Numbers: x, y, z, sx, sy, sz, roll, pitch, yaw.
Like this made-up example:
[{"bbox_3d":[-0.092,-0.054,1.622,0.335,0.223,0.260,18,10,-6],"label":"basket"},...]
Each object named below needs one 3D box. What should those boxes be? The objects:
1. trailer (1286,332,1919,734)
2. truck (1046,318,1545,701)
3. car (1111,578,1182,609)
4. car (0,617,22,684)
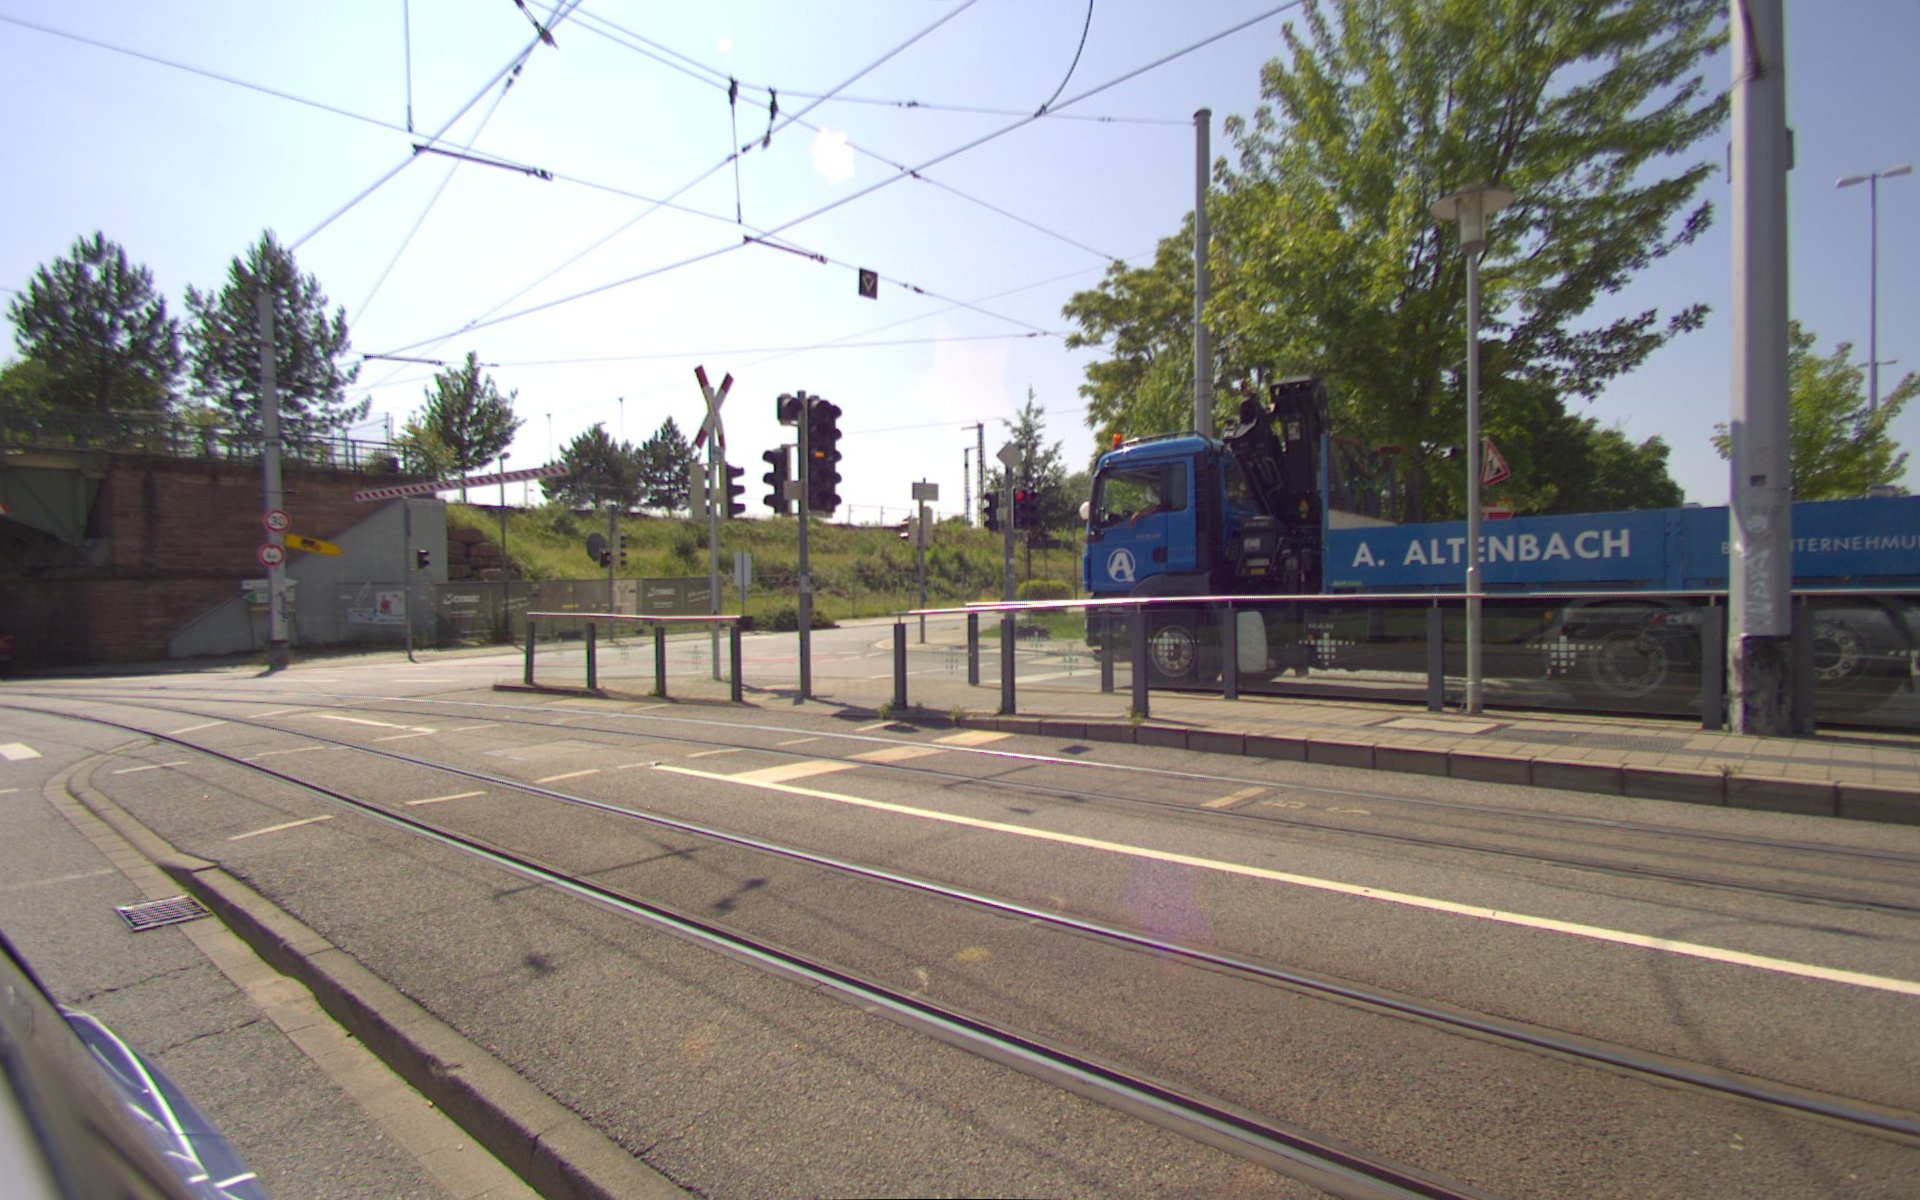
[{"bbox_3d":[6.986,-0.487,9.557,6.895,3.000,2.715,-2,0,42],"label":"trailer"},{"bbox_3d":[3.912,-0.823,12.297,5.038,3.636,2.715,-2,0,41],"label":"truck"},{"bbox_3d":[10.337,-0.397,55.913,1.848,1.628,4.309,2,3,42],"label":"car"},{"bbox_3d":[-25.709,1.339,24.879,4.265,1.615,1.815,-2,1,14],"label":"car"}]
